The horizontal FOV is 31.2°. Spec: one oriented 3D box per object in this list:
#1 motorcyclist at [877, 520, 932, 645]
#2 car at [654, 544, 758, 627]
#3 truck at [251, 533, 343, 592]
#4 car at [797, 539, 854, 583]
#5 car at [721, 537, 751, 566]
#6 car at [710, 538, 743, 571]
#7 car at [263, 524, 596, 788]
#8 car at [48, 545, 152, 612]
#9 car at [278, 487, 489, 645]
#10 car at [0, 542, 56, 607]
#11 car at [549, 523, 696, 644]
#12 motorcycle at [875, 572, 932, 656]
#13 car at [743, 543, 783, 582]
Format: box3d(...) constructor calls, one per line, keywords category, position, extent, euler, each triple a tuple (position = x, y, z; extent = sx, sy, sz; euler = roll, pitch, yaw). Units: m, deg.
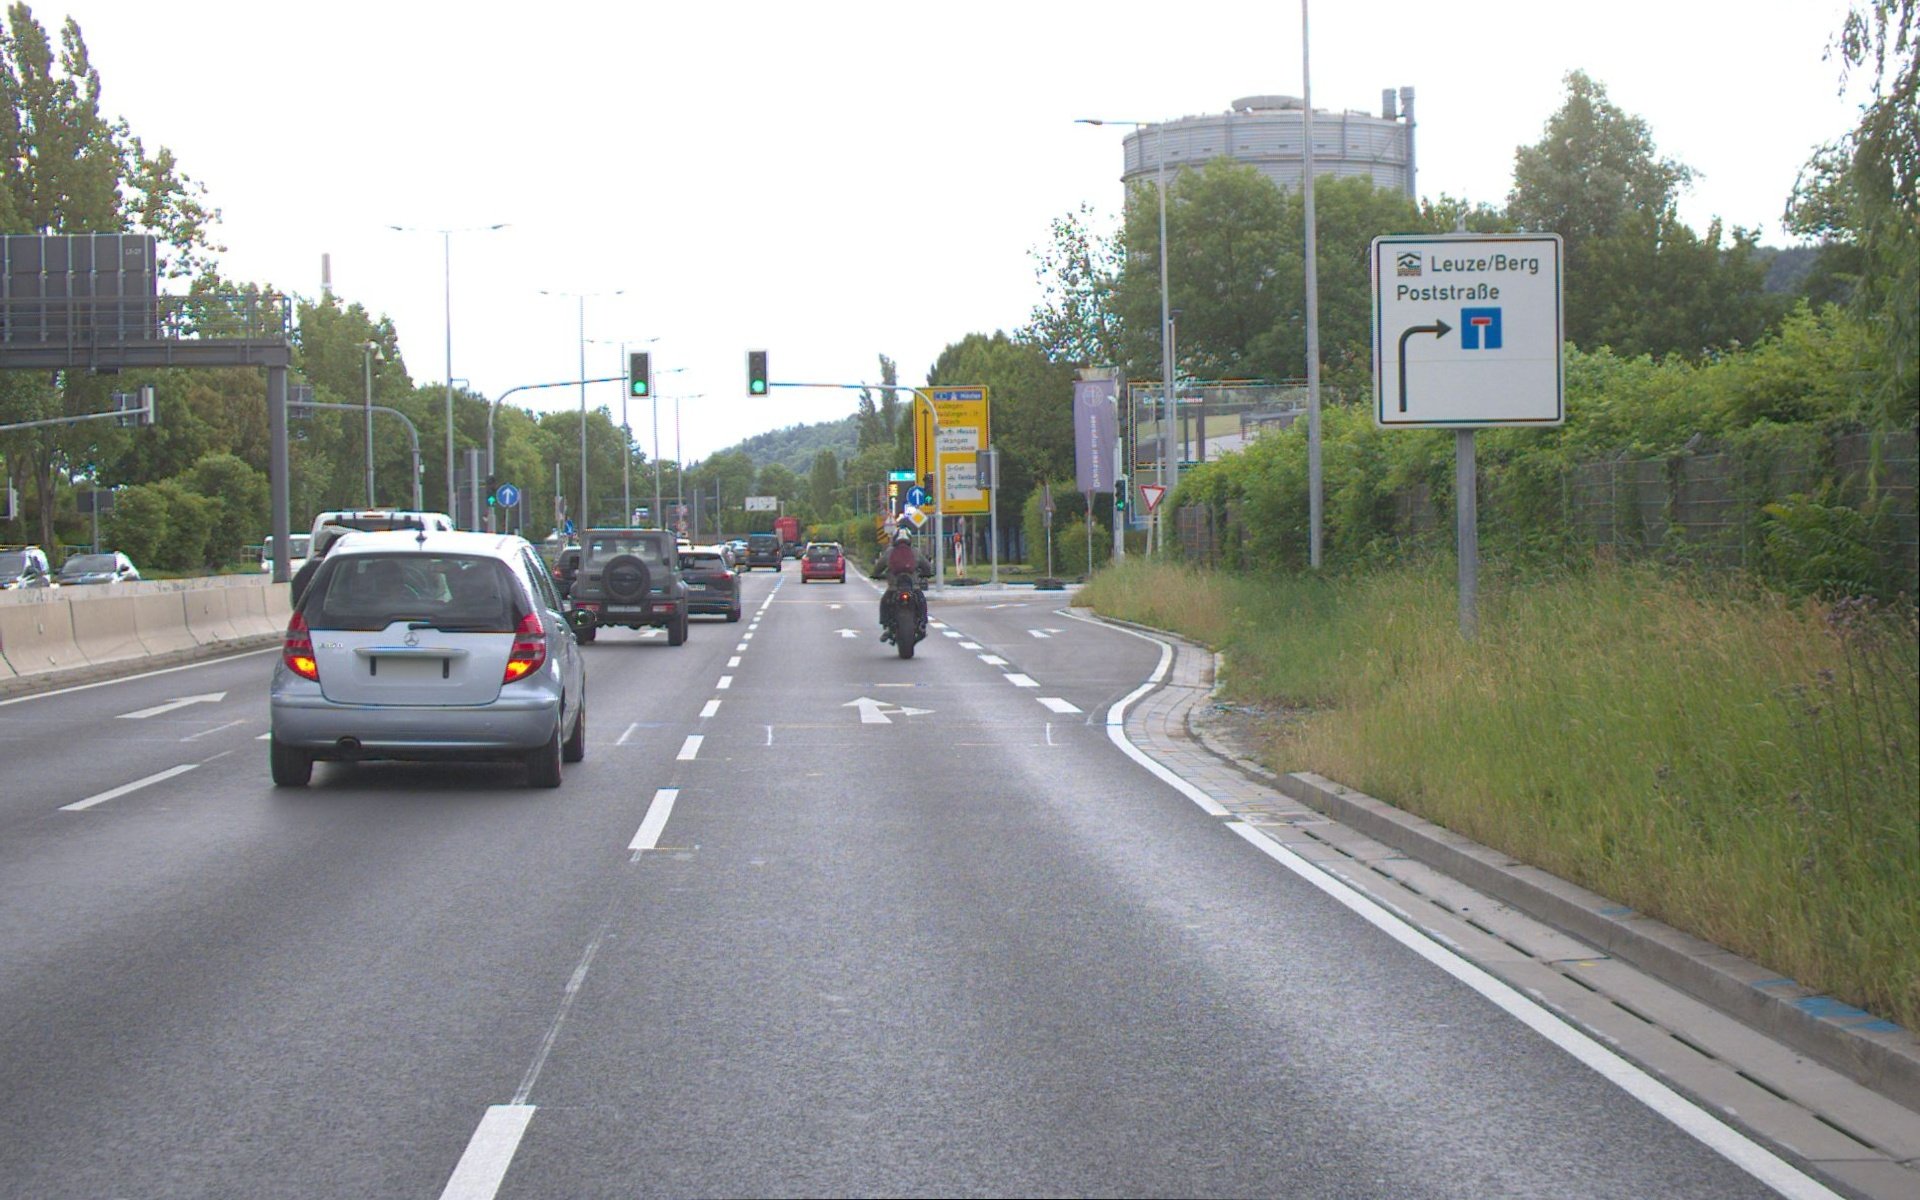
box3d(category="motorcyclist", position=(-0.722, -0.233, 44.818), extent=(0.684, 1.604, 0.845), euler=(1, 1, -1))
box3d(category="car", position=(-4.821, -0.301, 65.741), extent=(1.840, 1.459, 4.001), euler=(1, 1, -3))
box3d(category="truck", position=(-23.803, -1.384, 123.715), extent=(2.204, 2.007, 6.302), euler=(1, 1, -1))
box3d(category="car", position=(-5.077, -1.471, 129.245), extent=(1.993, 1.546, 4.001), euler=(1, 1, -4))
box3d(category="car", position=(-16.034, -3.496, 246.433), extent=(1.993, 2.007, 4.001), euler=(1, 1, -2))
box3d(category="car", position=(-15.055, -2.955, 221.915), extent=(1.993, 2.007, 4.001), euler=(1, 1, -2))
box3d(category="car", position=(-3.339, 0.288, 22.287), extent=(1.710, 1.525, 4.001), euler=(1, 1, -3))
box3d(category="car", position=(-22.734, -0.582, 91.012), extent=(1.877, 1.677, 4.126), euler=(1, 1, -3))
box3d(category="car", position=(-7.491, -0.477, 45.125), extent=(2.214, 1.919, 5.003), euler=(1, 1, -4))
box3d(category="car", position=(-26.148, -0.727, 94.125), extent=(1.877, 1.677, 3.928), euler=(1, 1, -3))
box3d(category="car", position=(-4.949, -0.271, 50.860), extent=(1.907, 1.678, 4.001), euler=(1, 1, -2))
box3d(category="motorcycle", position=(-0.730, 0.169, 44.789), extent=(0.706, 1.036, 2.027), euler=(1, 1, -1))
box3d(category="car", position=(-10.538, -2.024, 183.839), extent=(1.993, 2.007, 4.001), euler=(1, 1, -2))
